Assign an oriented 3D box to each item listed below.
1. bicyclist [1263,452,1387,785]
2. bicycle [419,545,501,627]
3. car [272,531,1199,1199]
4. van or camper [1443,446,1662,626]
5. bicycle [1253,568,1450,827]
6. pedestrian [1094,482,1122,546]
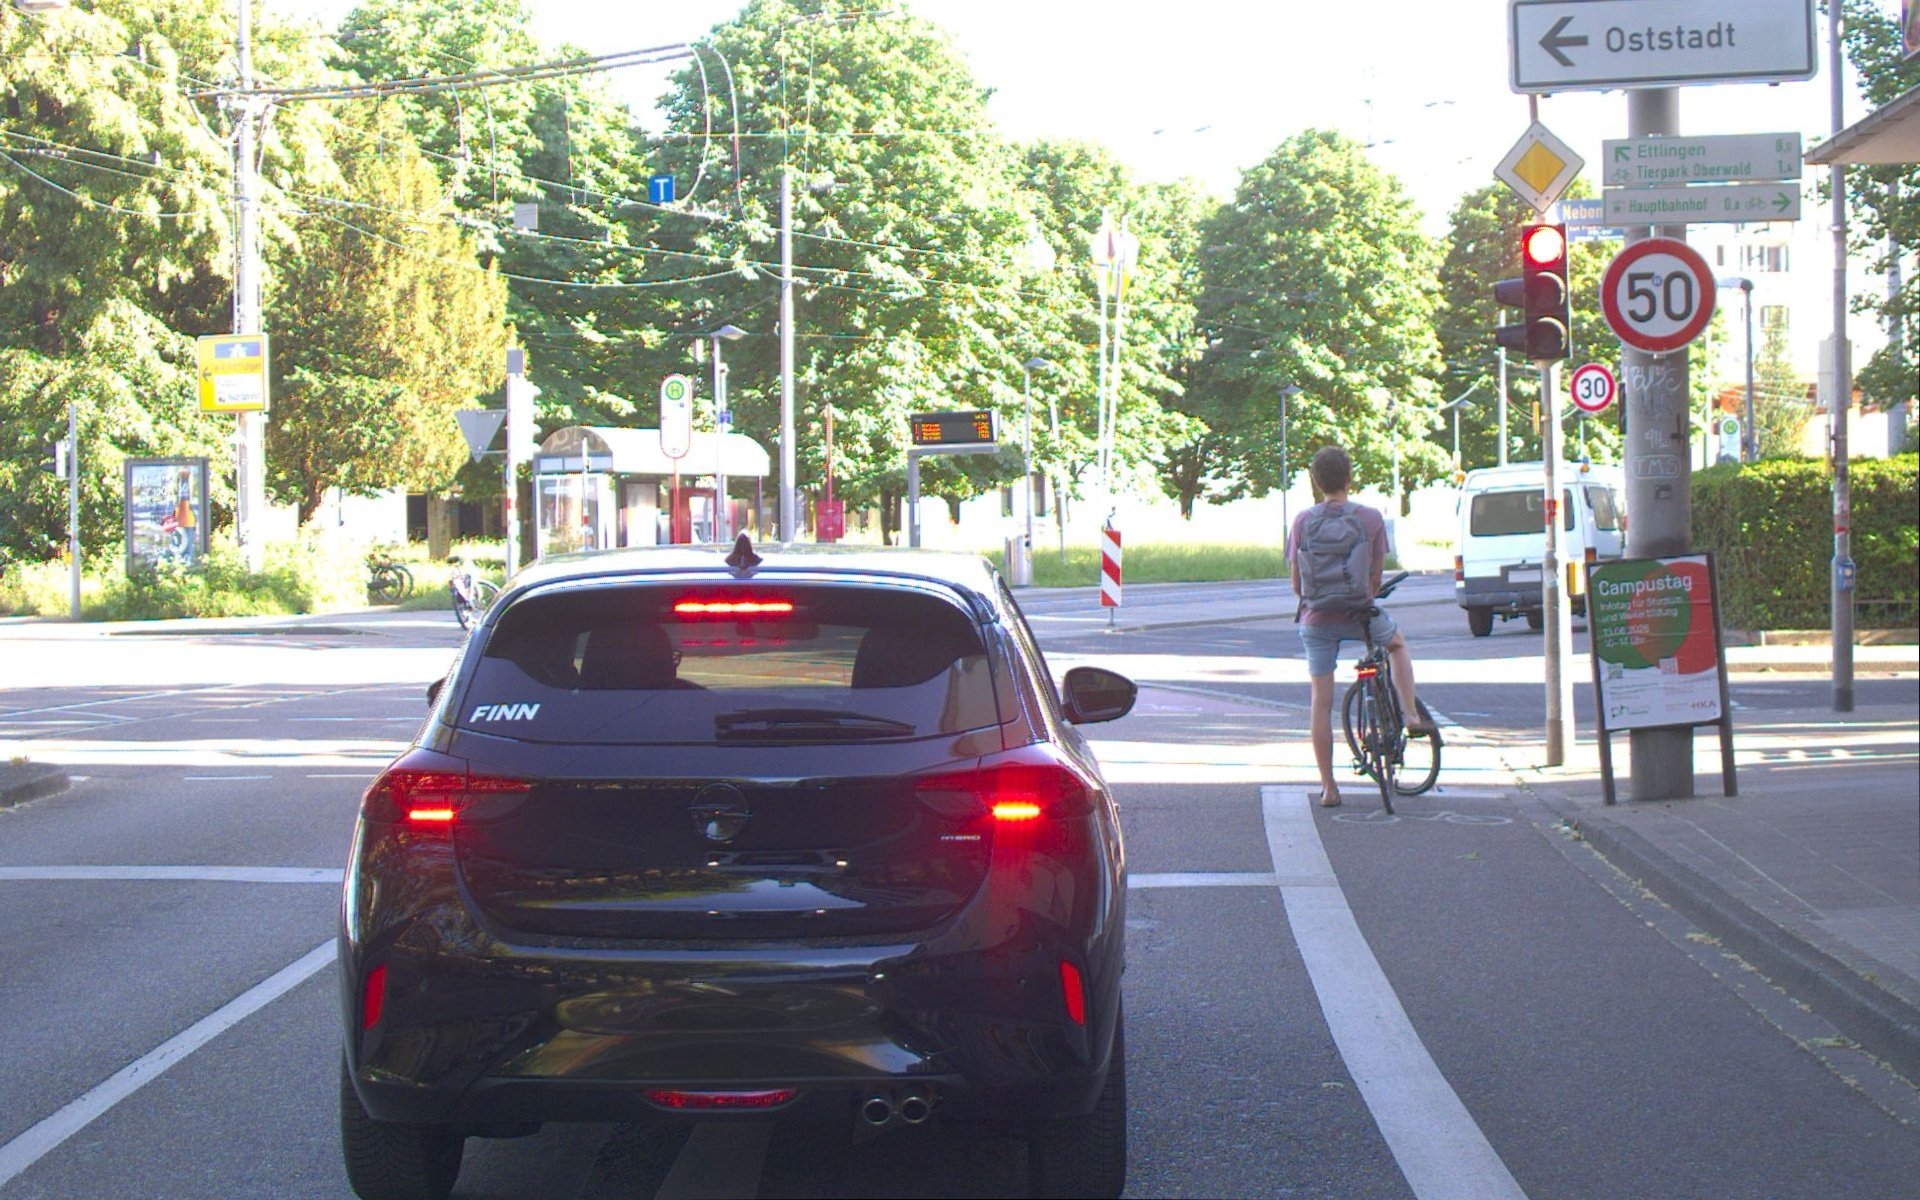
[{"bbox_3d":[1.888,0.086,17.742,0.534,1.686,0.567,0,1,17],"label":"bicyclist"},{"bbox_3d":[-6.724,-0.203,46.346,0.796,1.061,2.185,0,1,-1],"label":"bicycle"},{"bbox_3d":[-0.469,0.564,8.833,1.840,1.457,3.984,0,1,-1],"label":"car"},{"bbox_3d":[8.041,-0.845,46.332,2.031,2.302,4.535,1,1,21],"label":"van or camper"},{"bbox_3d":[2.062,0.470,17.878,0.753,1.231,2.014,0,1,14],"label":"bicycle"},{"bbox_3d":[4.356,-2.522,100.873,0.604,1.865,0.519,0,0,-38],"label":"pedestrian"}]
